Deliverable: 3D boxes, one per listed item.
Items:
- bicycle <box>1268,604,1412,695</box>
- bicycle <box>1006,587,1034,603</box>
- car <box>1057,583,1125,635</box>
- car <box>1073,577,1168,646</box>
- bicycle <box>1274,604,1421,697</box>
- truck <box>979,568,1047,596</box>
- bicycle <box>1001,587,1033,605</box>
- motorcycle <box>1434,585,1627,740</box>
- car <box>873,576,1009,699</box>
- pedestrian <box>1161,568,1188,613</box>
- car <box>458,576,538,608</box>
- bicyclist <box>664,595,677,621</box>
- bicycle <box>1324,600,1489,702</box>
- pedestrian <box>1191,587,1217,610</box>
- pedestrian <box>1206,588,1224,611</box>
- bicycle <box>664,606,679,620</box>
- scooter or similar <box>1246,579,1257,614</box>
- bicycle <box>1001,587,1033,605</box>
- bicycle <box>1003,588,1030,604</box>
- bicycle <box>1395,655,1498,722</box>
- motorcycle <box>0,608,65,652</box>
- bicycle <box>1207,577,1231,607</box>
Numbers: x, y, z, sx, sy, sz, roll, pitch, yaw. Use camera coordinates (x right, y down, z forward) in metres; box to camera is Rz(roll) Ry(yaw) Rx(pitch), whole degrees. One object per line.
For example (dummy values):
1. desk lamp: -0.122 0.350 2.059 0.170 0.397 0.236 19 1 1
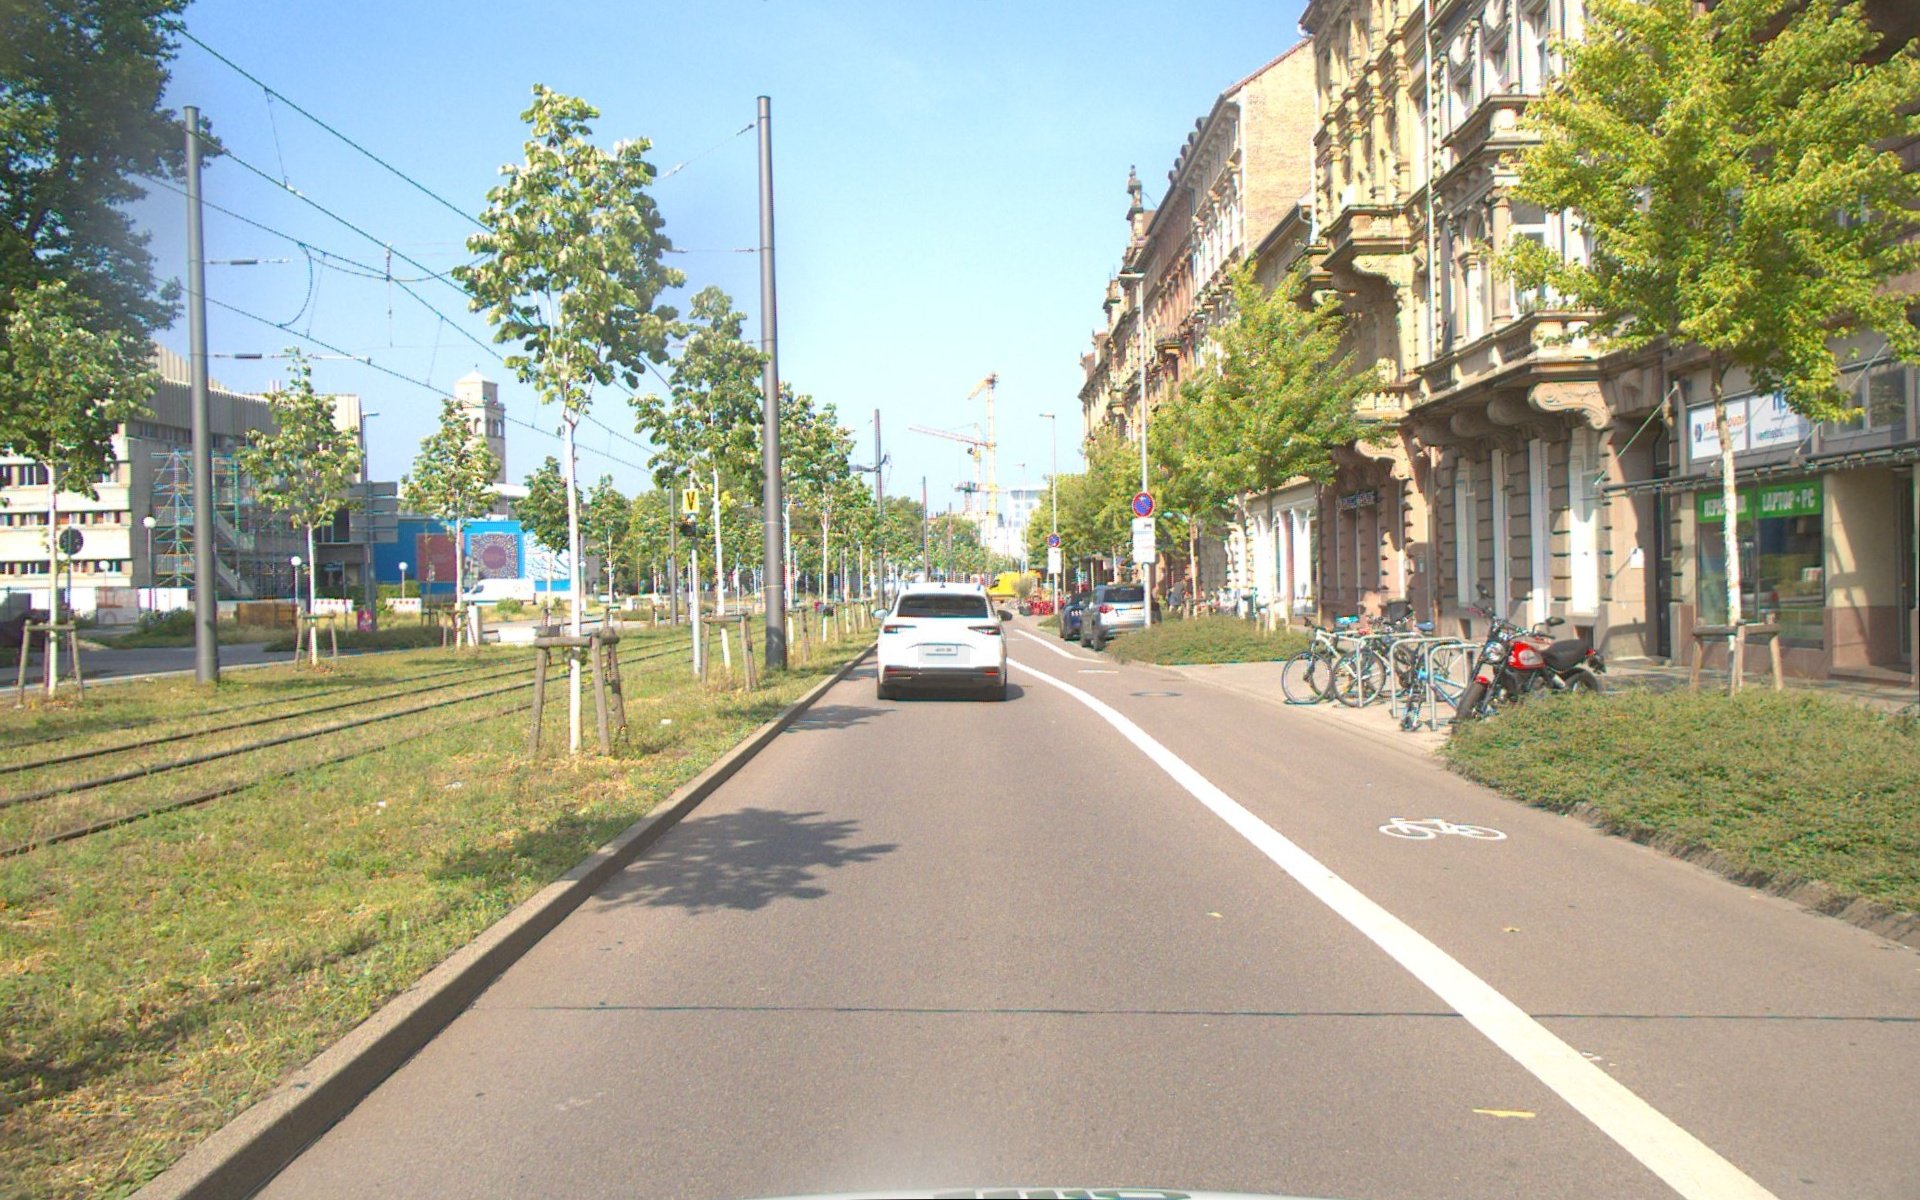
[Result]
1. bicycle: 4.959 0.640 21.599 1.749 1.072 0.372 -3 1 -2
2. bicycle: 4.207 -0.357 116.310 1.895 1.003 0.471 -3 0 1
3. car: 3.963 0.233 50.621 1.701 1.420 4.715 -3 1 1
4. car: 4.102 0.249 42.839 1.735 1.616 4.244 -3 1 -4
5. bicycle: 4.959 0.641 21.201 1.749 1.072 0.372 -3 1 -2
6. truck: 4.676 -1.581 145.857 5.773 2.358 2.211 -1 1 37
7. bicycle: 3.982 -0.283 115.099 2.193 1.123 0.588 -3 0 1
8. motorcycle: 5.517 0.570 15.944 2.019 1.309 0.696 -4 2 -36
9. car: -0.269 0.478 24.088 1.780 1.617 4.406 0 0 0
10. pedestrian: 8.415 -0.369 64.952 0.807 1.726 0.792 -3 0 -5
11. car: -41.873 -0.728 149.867 6.777 2.684 2.498 1 0 -22
12. bicyclist: -20.129 0.544 115.069 0.634 1.766 0.918 -3 0 -1
13. bicycle: 5.399 0.606 20.059 1.772 1.115 0.671 -3 1 -6
14. pedestrian: 9.731 -0.059 65.886 0.860 0.892 0.710 -3 1 -4
15. pedestrian: 9.898 -0.030 64.193 0.559 0.869 0.457 -4 1 -6
16. bicycle: -20.095 0.907 115.051 0.648 0.978 2.078 -3 0 0
17. scooter or similar: 9.932 -0.122 56.357 0.282 1.154 1.089 -1 1 5
18. bicycle: 4.005 -0.283 115.655 2.193 1.123 0.519 -3 0 1
19. bicycle: 4.093 -0.287 120.139 1.894 1.030 0.441 -3 0 4
20. bicycle: 5.073 0.921 17.260 0.938 0.620 0.360 -3 0 0
21. motorcycle: -31.131 1.005 54.995 2.273 1.392 0.807 -2 0 -38
22. bicycle: 9.540 -0.294 60.997 0.442 1.102 1.445 -1 0 -10
